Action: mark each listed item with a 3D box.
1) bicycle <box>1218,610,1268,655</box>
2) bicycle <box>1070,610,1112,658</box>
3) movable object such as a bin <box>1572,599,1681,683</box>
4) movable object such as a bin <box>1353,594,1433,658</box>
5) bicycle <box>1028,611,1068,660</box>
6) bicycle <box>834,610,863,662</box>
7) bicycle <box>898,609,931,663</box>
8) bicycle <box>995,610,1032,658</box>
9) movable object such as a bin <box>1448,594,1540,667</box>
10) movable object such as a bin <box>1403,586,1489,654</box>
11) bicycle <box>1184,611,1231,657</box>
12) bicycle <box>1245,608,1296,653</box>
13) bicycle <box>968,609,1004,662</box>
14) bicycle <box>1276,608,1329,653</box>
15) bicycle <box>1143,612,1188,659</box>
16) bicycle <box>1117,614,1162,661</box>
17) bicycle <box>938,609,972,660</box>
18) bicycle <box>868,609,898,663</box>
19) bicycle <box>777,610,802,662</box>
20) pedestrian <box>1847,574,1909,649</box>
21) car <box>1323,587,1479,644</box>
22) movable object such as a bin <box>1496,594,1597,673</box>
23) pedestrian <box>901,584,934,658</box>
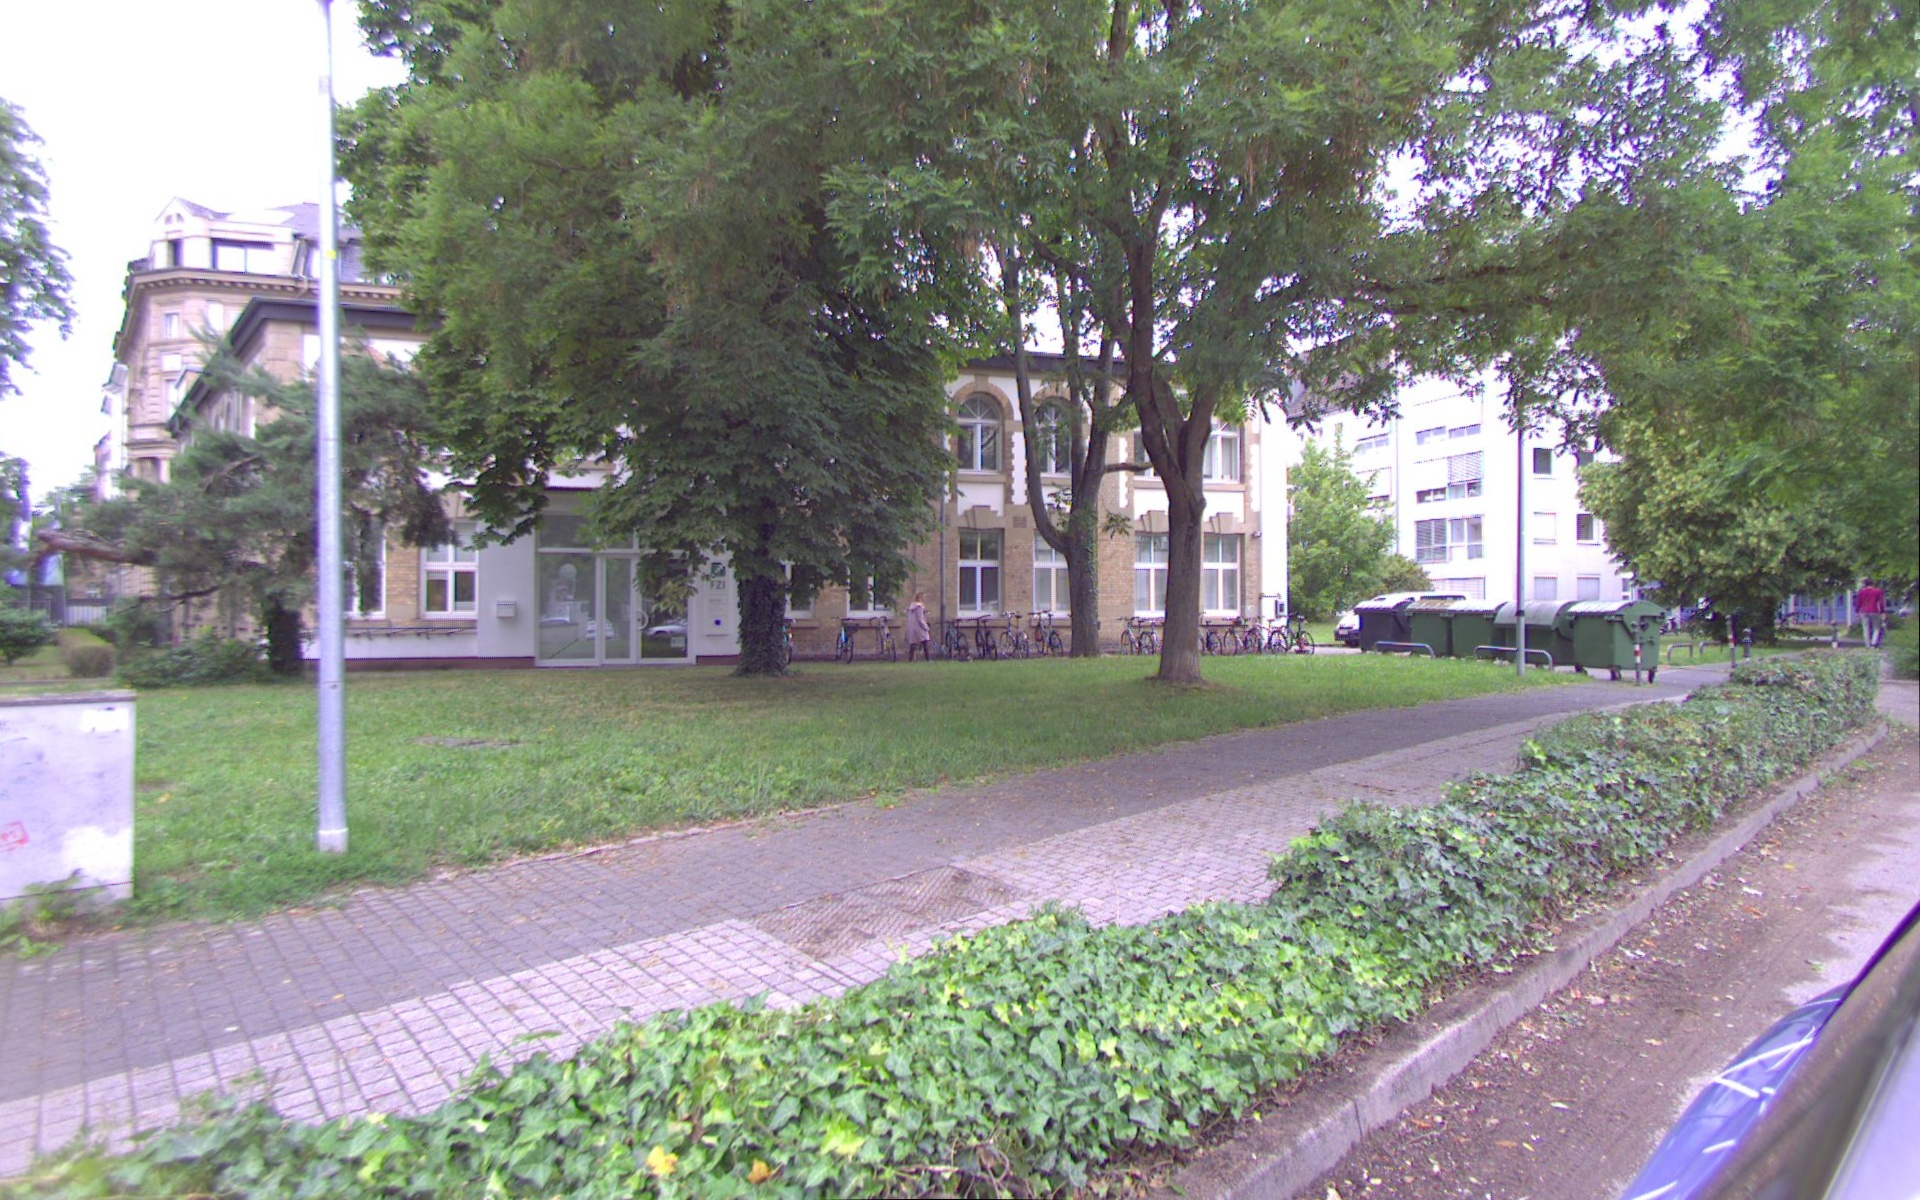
[{"bbox_3d":[7.351,0.831,26.351,0.451,1.129,1.748,0,0,-13],"label":"bicycle"},{"bbox_3d":[3.209,0.819,24.957,0.451,1.129,1.748,0,0,-13],"label":"bicycle"},{"bbox_3d":[12.000,0.717,18.269,1.050,1.452,1.276,0,0,-6],"label":"movable object such as a bin"},{"bbox_3d":[10.264,0.603,24.014,1.085,1.469,1.365,0,-1,-20],"label":"movable object such as a bin"},{"bbox_3d":[2.149,0.854,24.918,0.451,1.129,1.748,0,0,-13],"label":"bicycle"},{"bbox_3d":[-2.597,0.814,23.491,0.451,1.129,1.748,0,0,-13],"label":"bicycle"},{"bbox_3d":[-1.079,0.820,23.786,0.451,1.128,1.749,0,3,-13],"label":"bicycle"},{"bbox_3d":[1.290,0.808,24.701,0.451,1.129,1.748,0,0,-13],"label":"bicycle"},{"bbox_3d":[11.165,0.611,21.189,1.085,1.469,1.297,0,-1,-18],"label":"movable object such as a bin"},{"bbox_3d":[10.818,0.431,22.560,1.085,1.469,1.329,0,-1,-20],"label":"movable object such as a bin"},{"bbox_3d":[6.341,0.852,26.003,0.451,1.129,1.747,0,0,-11],"label":"bicycle"},{"bbox_3d":[8.104,0.772,26.479,0.451,1.129,1.748,0,0,-13],"label":"bicycle"},{"bbox_3d":[0.610,0.837,24.403,0.451,1.128,1.749,0,2,-13],"label":"bicycle"},{"bbox_3d":[9.032,0.791,26.749,0.451,1.129,1.748,0,0,-14],"label":"bicycle"},{"bbox_3d":[5.211,0.885,25.747,0.451,1.129,1.748,0,0,-13],"label":"bicycle"},{"bbox_3d":[4.518,0.919,25.549,0.451,1.129,1.748,0,0,-13],"label":"bicycle"},{"bbox_3d":[-0.133,0.806,24.259,0.451,1.128,1.748,0,1,-13],"label":"bicycle"},{"bbox_3d":[-1.807,0.812,23.625,0.451,1.128,1.748,0,2,-13],"label":"bicycle"},{"bbox_3d":[-3.920,0.797,23.194,0.451,1.129,1.748,0,0,-13],"label":"bicycle"},{"bbox_3d":[25.961,0.319,28.625,1.176,2.090,0.796,0,-1,-19],"label":"pedestrian"},{"bbox_3d":[15.253,0.545,35.071,4.673,1.898,1.904,0,-3,-13],"label":"car"},{"bbox_3d":[11.391,0.623,19.691,1.085,1.469,1.289,0,-1,-17],"label":"movable object such as a bin"},{"bbox_3d":[-0.949,0.459,22.468,0.614,1.607,0.605,0,-1,-15],"label":"pedestrian"}]
